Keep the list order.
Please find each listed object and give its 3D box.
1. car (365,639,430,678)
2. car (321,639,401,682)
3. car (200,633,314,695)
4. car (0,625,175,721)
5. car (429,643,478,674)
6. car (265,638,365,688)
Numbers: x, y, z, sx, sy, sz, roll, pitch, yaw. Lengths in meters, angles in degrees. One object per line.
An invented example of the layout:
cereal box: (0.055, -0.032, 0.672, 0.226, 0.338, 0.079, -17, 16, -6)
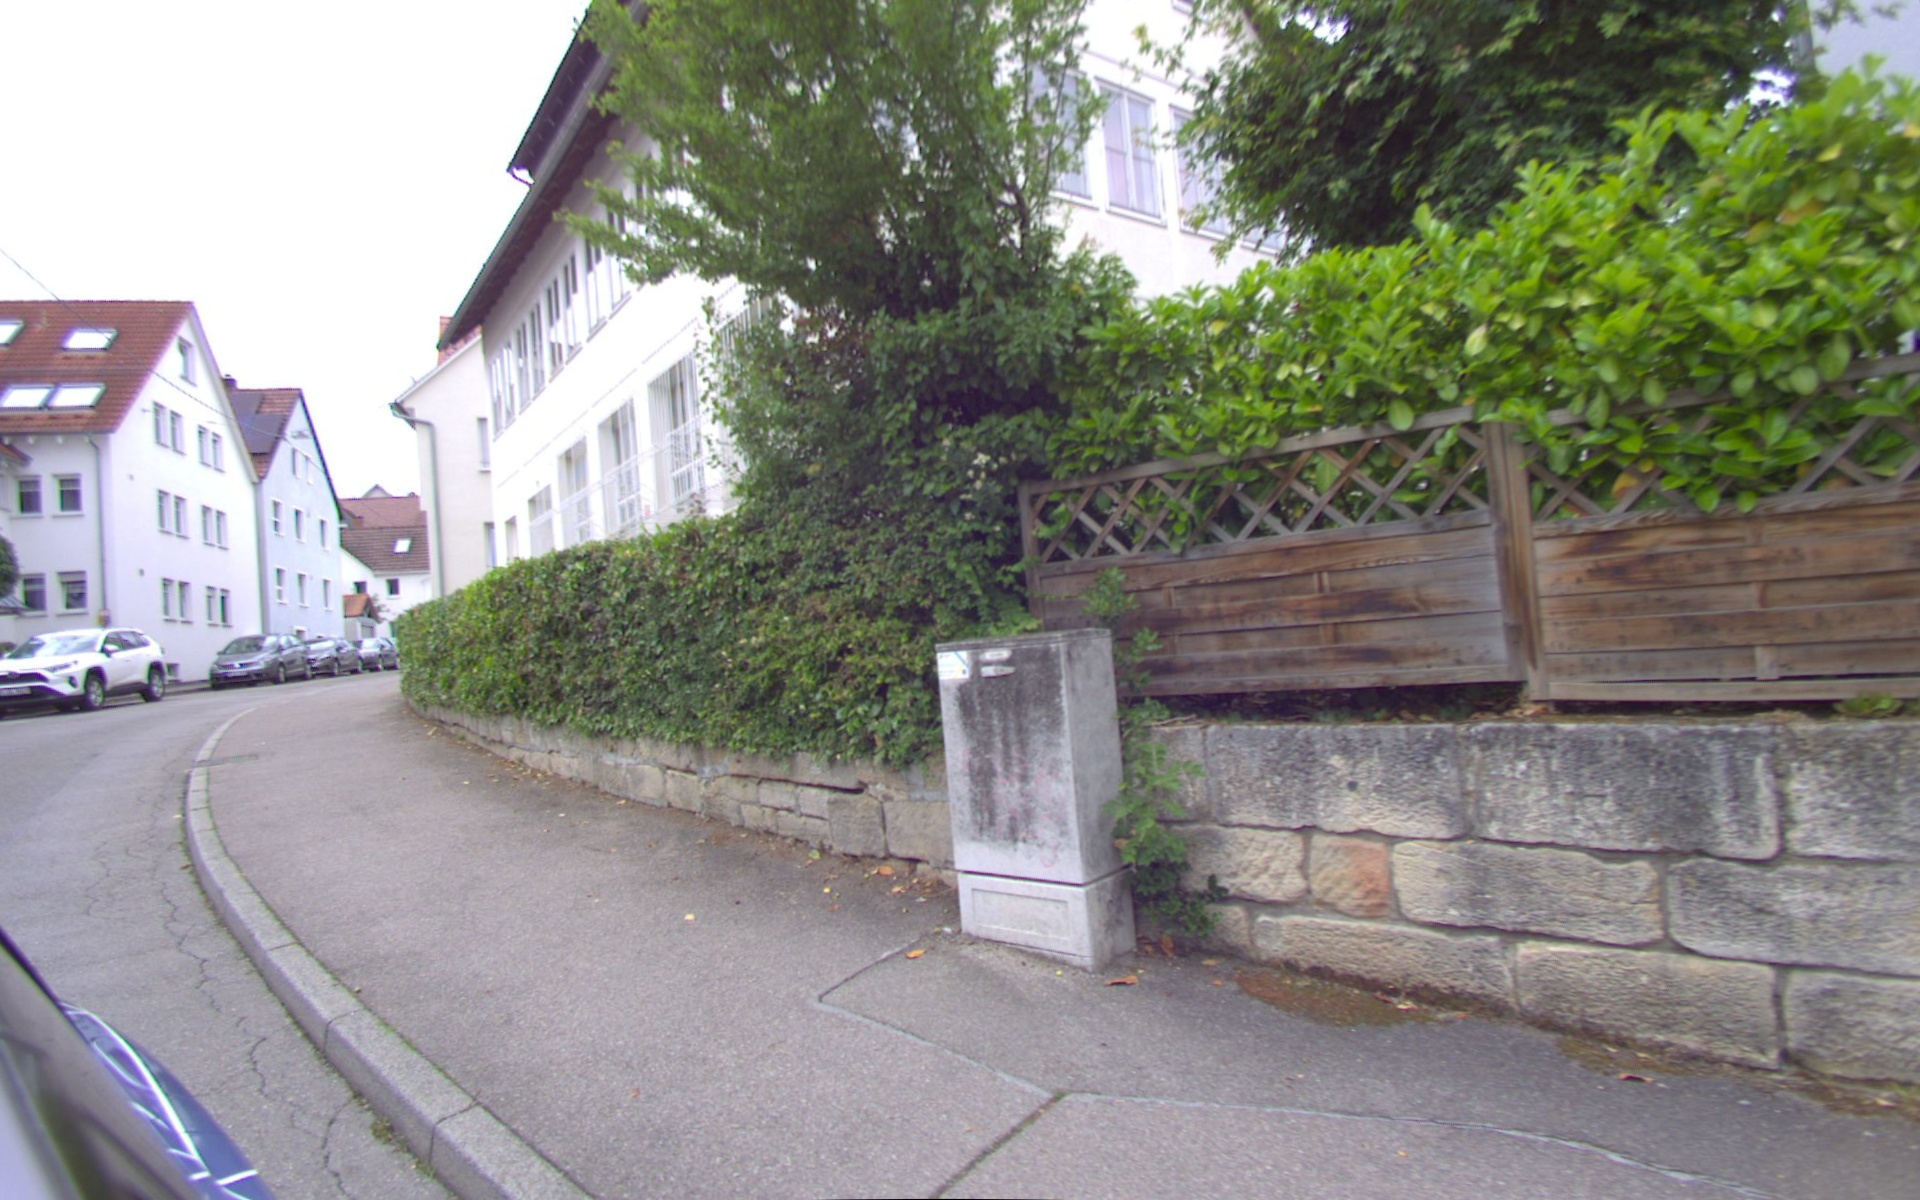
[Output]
car: (-25.209, 2.639, 45.456, 1.616, 1.523, 3.851, -5, -2, -16)
car: (-23.889, 2.423, 40.523, 1.702, 1.453, 4.277, -6, -1, -17)
car: (-21.065, 1.883, 30.488, 1.711, 1.575, 3.920, -6, 0, -19)
car: (-18.216, 1.475, 20.717, 1.919, 1.652, 4.474, -5, -1, -18)
car: (-29.007, 3.359, 58.065, 1.742, 1.574, 4.052, -5, -2, -17)
car: (-22.561, 2.149, 35.571, 1.784, 1.453, 3.969, -6, 0, -15)
